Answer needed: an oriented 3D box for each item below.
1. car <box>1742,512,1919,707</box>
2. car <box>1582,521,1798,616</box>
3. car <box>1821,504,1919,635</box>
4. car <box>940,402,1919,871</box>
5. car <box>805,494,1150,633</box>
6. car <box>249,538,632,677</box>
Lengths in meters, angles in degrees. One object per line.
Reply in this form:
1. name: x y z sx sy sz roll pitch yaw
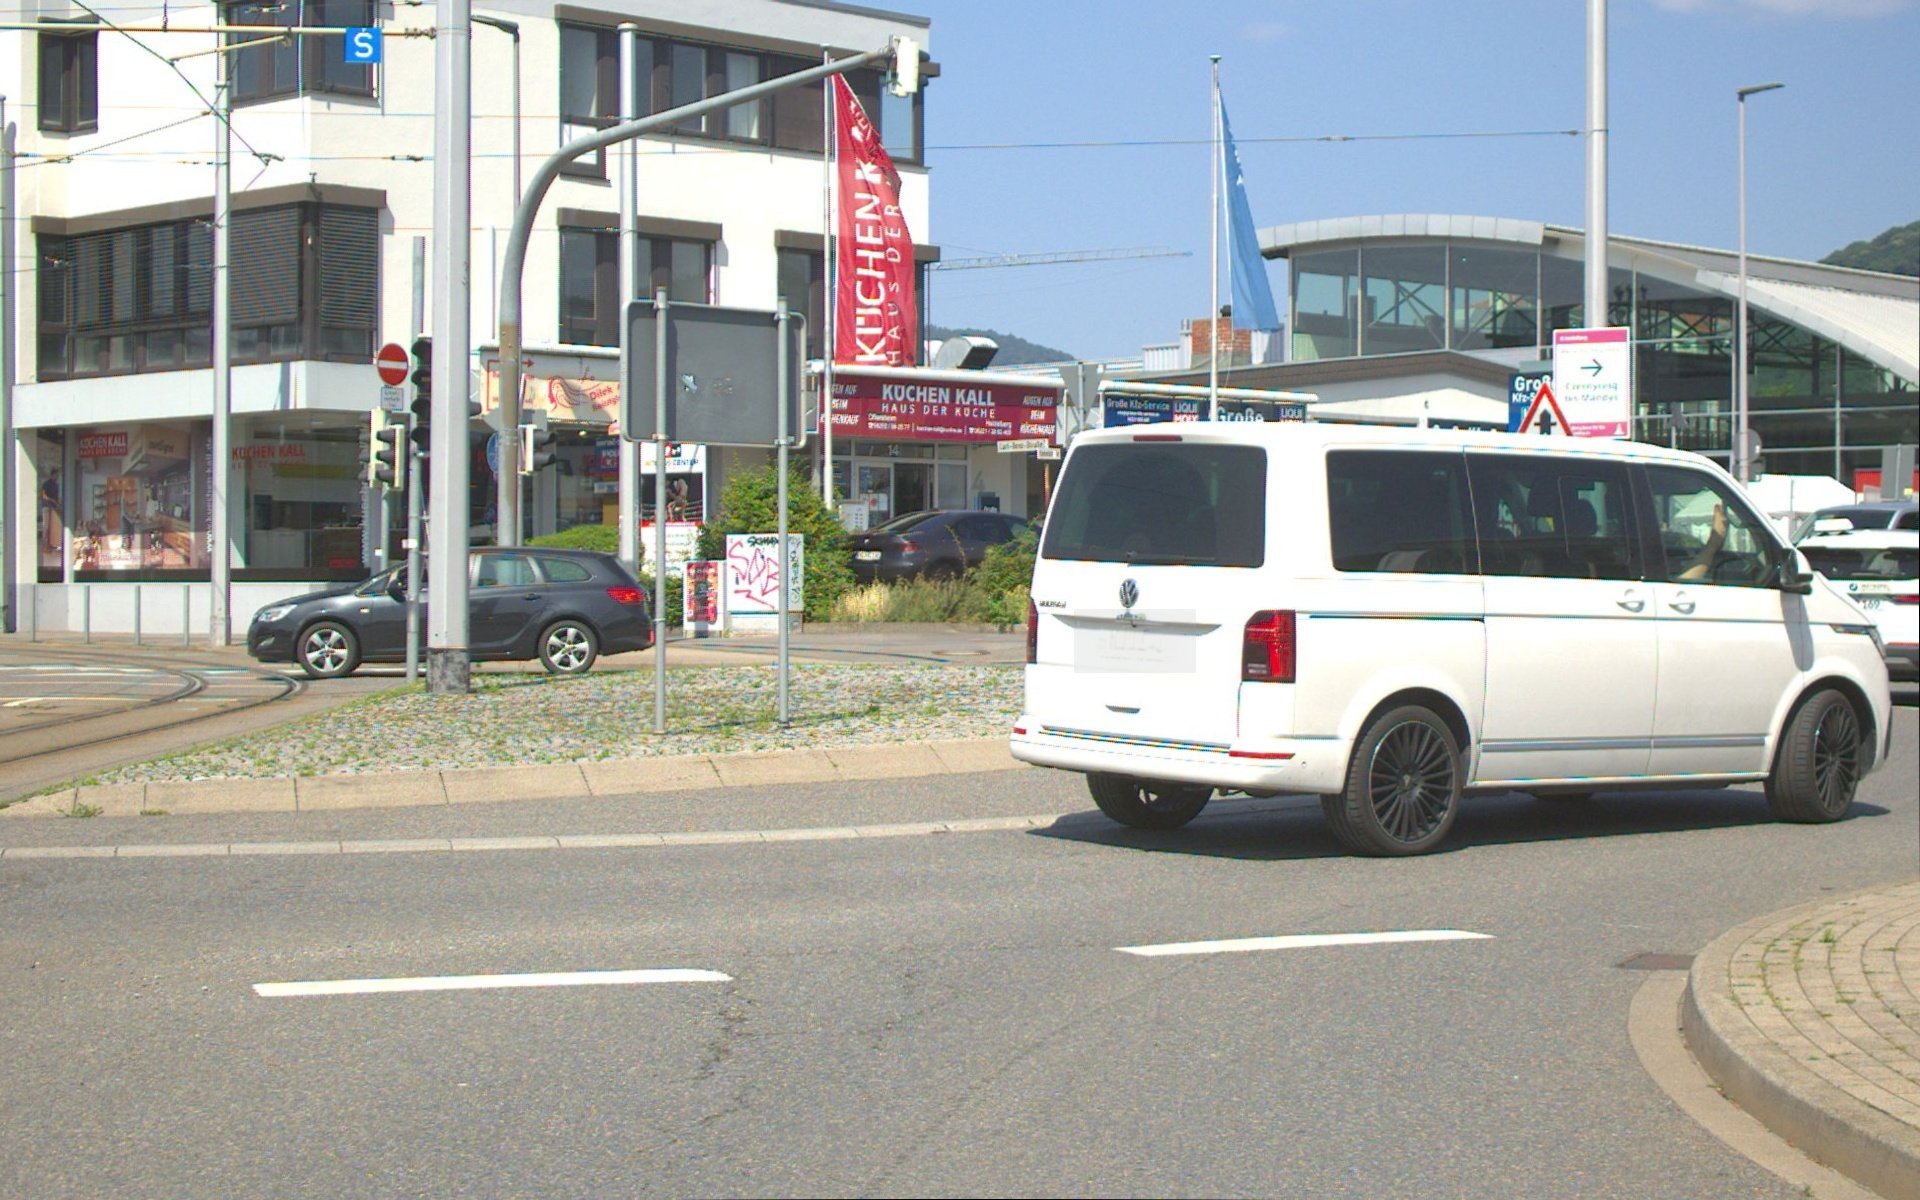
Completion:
1. car: 8.872 0.046 32.739 1.996 1.727 4.559 0 1 23
2. car: 12.966 -0.579 60.923 1.998 1.612 3.990 0 1 42
3. car: 15.225 -0.482 52.557 1.932 1.929 4.817 1 1 43
4. car: 2.552 0.119 17.094 5.003 2.007 2.169 -1 1 -37
5. car: 0.318 -0.563 51.269 5.266 1.959 1.965 -1 1 -44
6. car: -5.927 0.068 39.391 4.227 1.550 1.970 0 1 -8
